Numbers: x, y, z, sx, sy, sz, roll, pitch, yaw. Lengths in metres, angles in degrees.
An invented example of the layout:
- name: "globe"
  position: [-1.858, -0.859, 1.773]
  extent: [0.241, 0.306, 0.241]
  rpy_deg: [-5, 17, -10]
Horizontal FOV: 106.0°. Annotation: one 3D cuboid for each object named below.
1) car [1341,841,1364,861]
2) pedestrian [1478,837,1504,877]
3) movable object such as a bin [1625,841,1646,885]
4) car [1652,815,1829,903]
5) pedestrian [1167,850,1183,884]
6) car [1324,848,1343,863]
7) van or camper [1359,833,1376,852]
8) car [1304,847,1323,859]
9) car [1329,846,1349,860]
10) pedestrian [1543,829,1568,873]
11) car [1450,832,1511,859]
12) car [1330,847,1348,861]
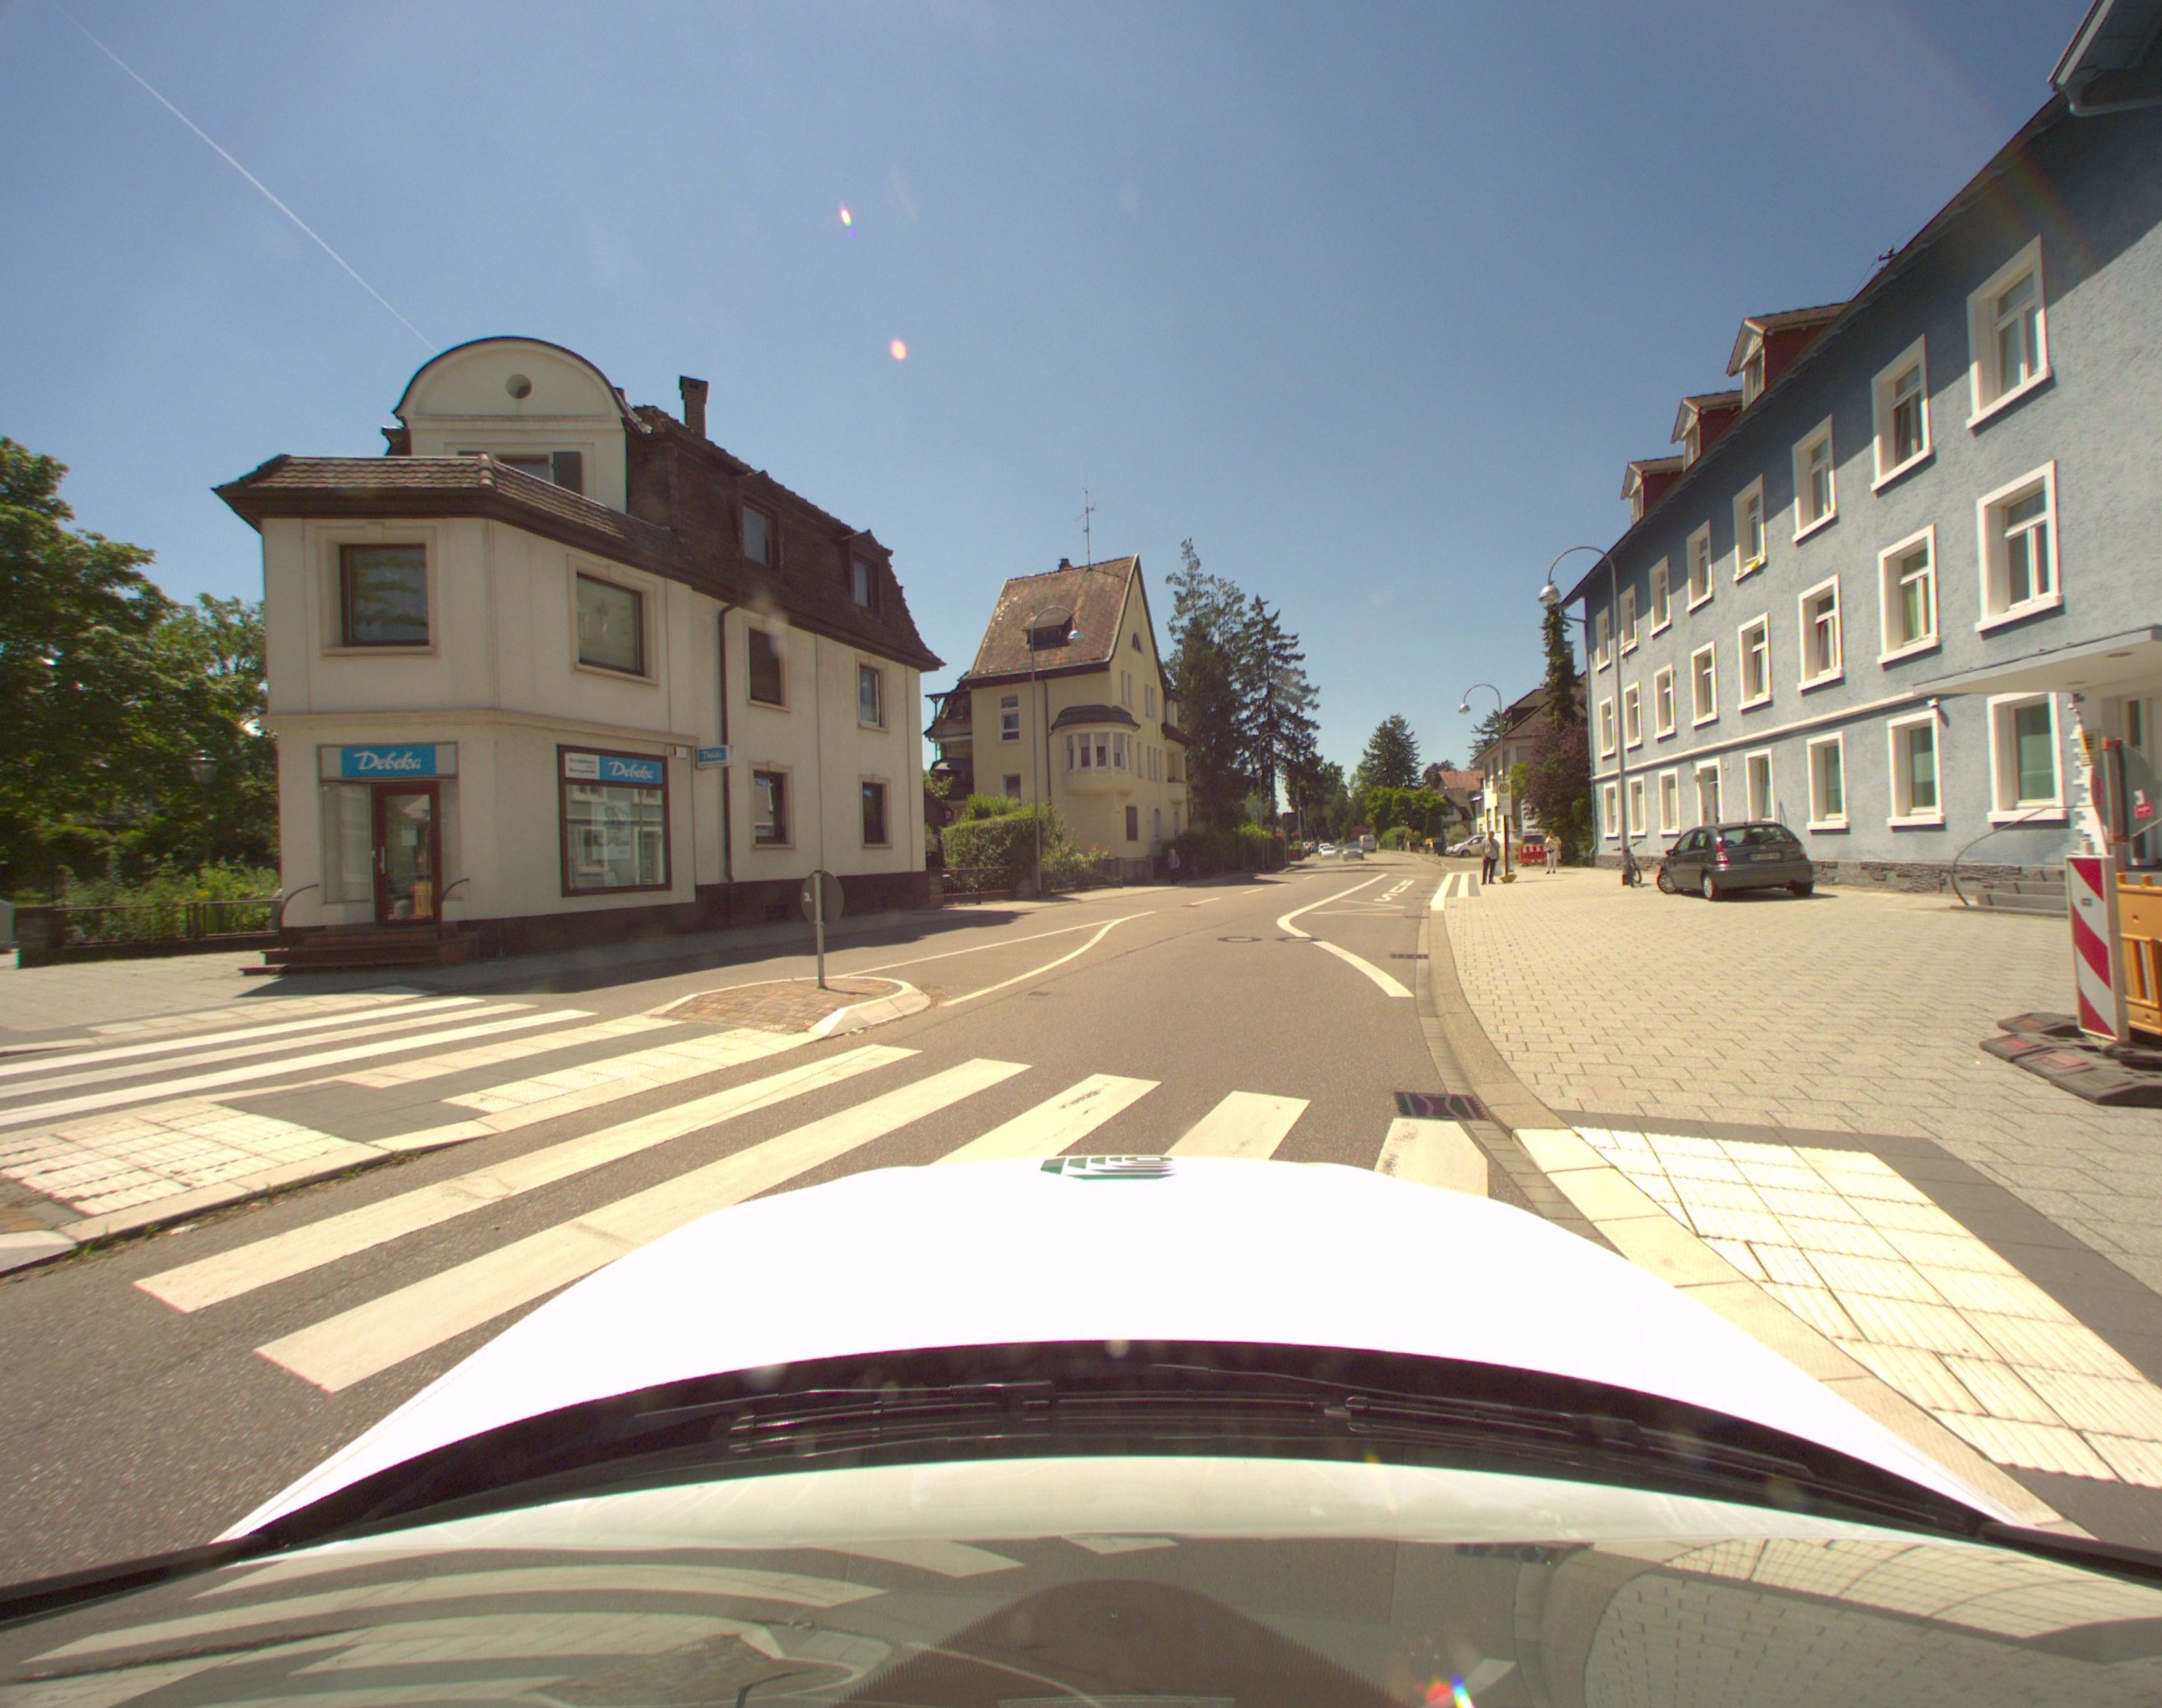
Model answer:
- name: "car"
  position: [25.690, -0.286, 77.160]
  extent: [1.977, 1.717, 4.019]
  rpy_deg: [-2, 0, 18]
- name: "pedestrian"
  position: [14.021, 0.091, 27.871]
  extent: [0.660, 1.286, 0.590]
  rpy_deg: [-6, -1, 26]
- name: "movable object such as a bin"
  position: [14.535, 0.232, 21.359]
  extent: [0.280, 1.123, 1.192]
  rpy_deg: [-4, -2, 29]
- name: "car"
  position: [13.489, 0.079, 16.923]
  extent: [1.626, 1.507, 3.581]
  rpy_deg: [-5, -1, 19]
- name: "pedestrian"
  position: [4.110, 0.569, 35.707]
  extent: [0.518, 1.509, 0.476]
  rpy_deg: [-2, 0, 24]
- name: "car"
  position: [27.951, 0.159, 90.056]
  extent: [1.978, 1.651, 4.018]
  rpy_deg: [-2, 0, 17]
- name: "van or camper"
  position: [41.422, -1.599, 117.829]
  extent: [2.188, 2.610, 4.018]
  rpy_deg: [-2, 0, 17]
- name: "car"
  position: [39.616, -0.143, 138.914]
  extent: [1.987, 2.013, 4.000]
  rpy_deg: [-1, 0, 1]
- name: "car"
  position: [39.033, -0.184, 123.326]
  extent: [1.985, 2.013, 4.004]
  rpy_deg: [-1, 0, 4]
- name: "pedestrian"
  position: [17.995, -0.119, 30.895]
  extent: [0.660, 1.594, 0.590]
  rpy_deg: [-6, -1, 26]
- name: "car"
  position: [31.657, -0.640, 64.620]
  extent: [3.960, 2.013, 2.007]
  rpy_deg: [-1, 0, 12]
- name: "car"
  position: [30.296, -0.004, 95.614]
  extent: [1.978, 1.651, 4.018]
  rpy_deg: [-2, 0, 17]
